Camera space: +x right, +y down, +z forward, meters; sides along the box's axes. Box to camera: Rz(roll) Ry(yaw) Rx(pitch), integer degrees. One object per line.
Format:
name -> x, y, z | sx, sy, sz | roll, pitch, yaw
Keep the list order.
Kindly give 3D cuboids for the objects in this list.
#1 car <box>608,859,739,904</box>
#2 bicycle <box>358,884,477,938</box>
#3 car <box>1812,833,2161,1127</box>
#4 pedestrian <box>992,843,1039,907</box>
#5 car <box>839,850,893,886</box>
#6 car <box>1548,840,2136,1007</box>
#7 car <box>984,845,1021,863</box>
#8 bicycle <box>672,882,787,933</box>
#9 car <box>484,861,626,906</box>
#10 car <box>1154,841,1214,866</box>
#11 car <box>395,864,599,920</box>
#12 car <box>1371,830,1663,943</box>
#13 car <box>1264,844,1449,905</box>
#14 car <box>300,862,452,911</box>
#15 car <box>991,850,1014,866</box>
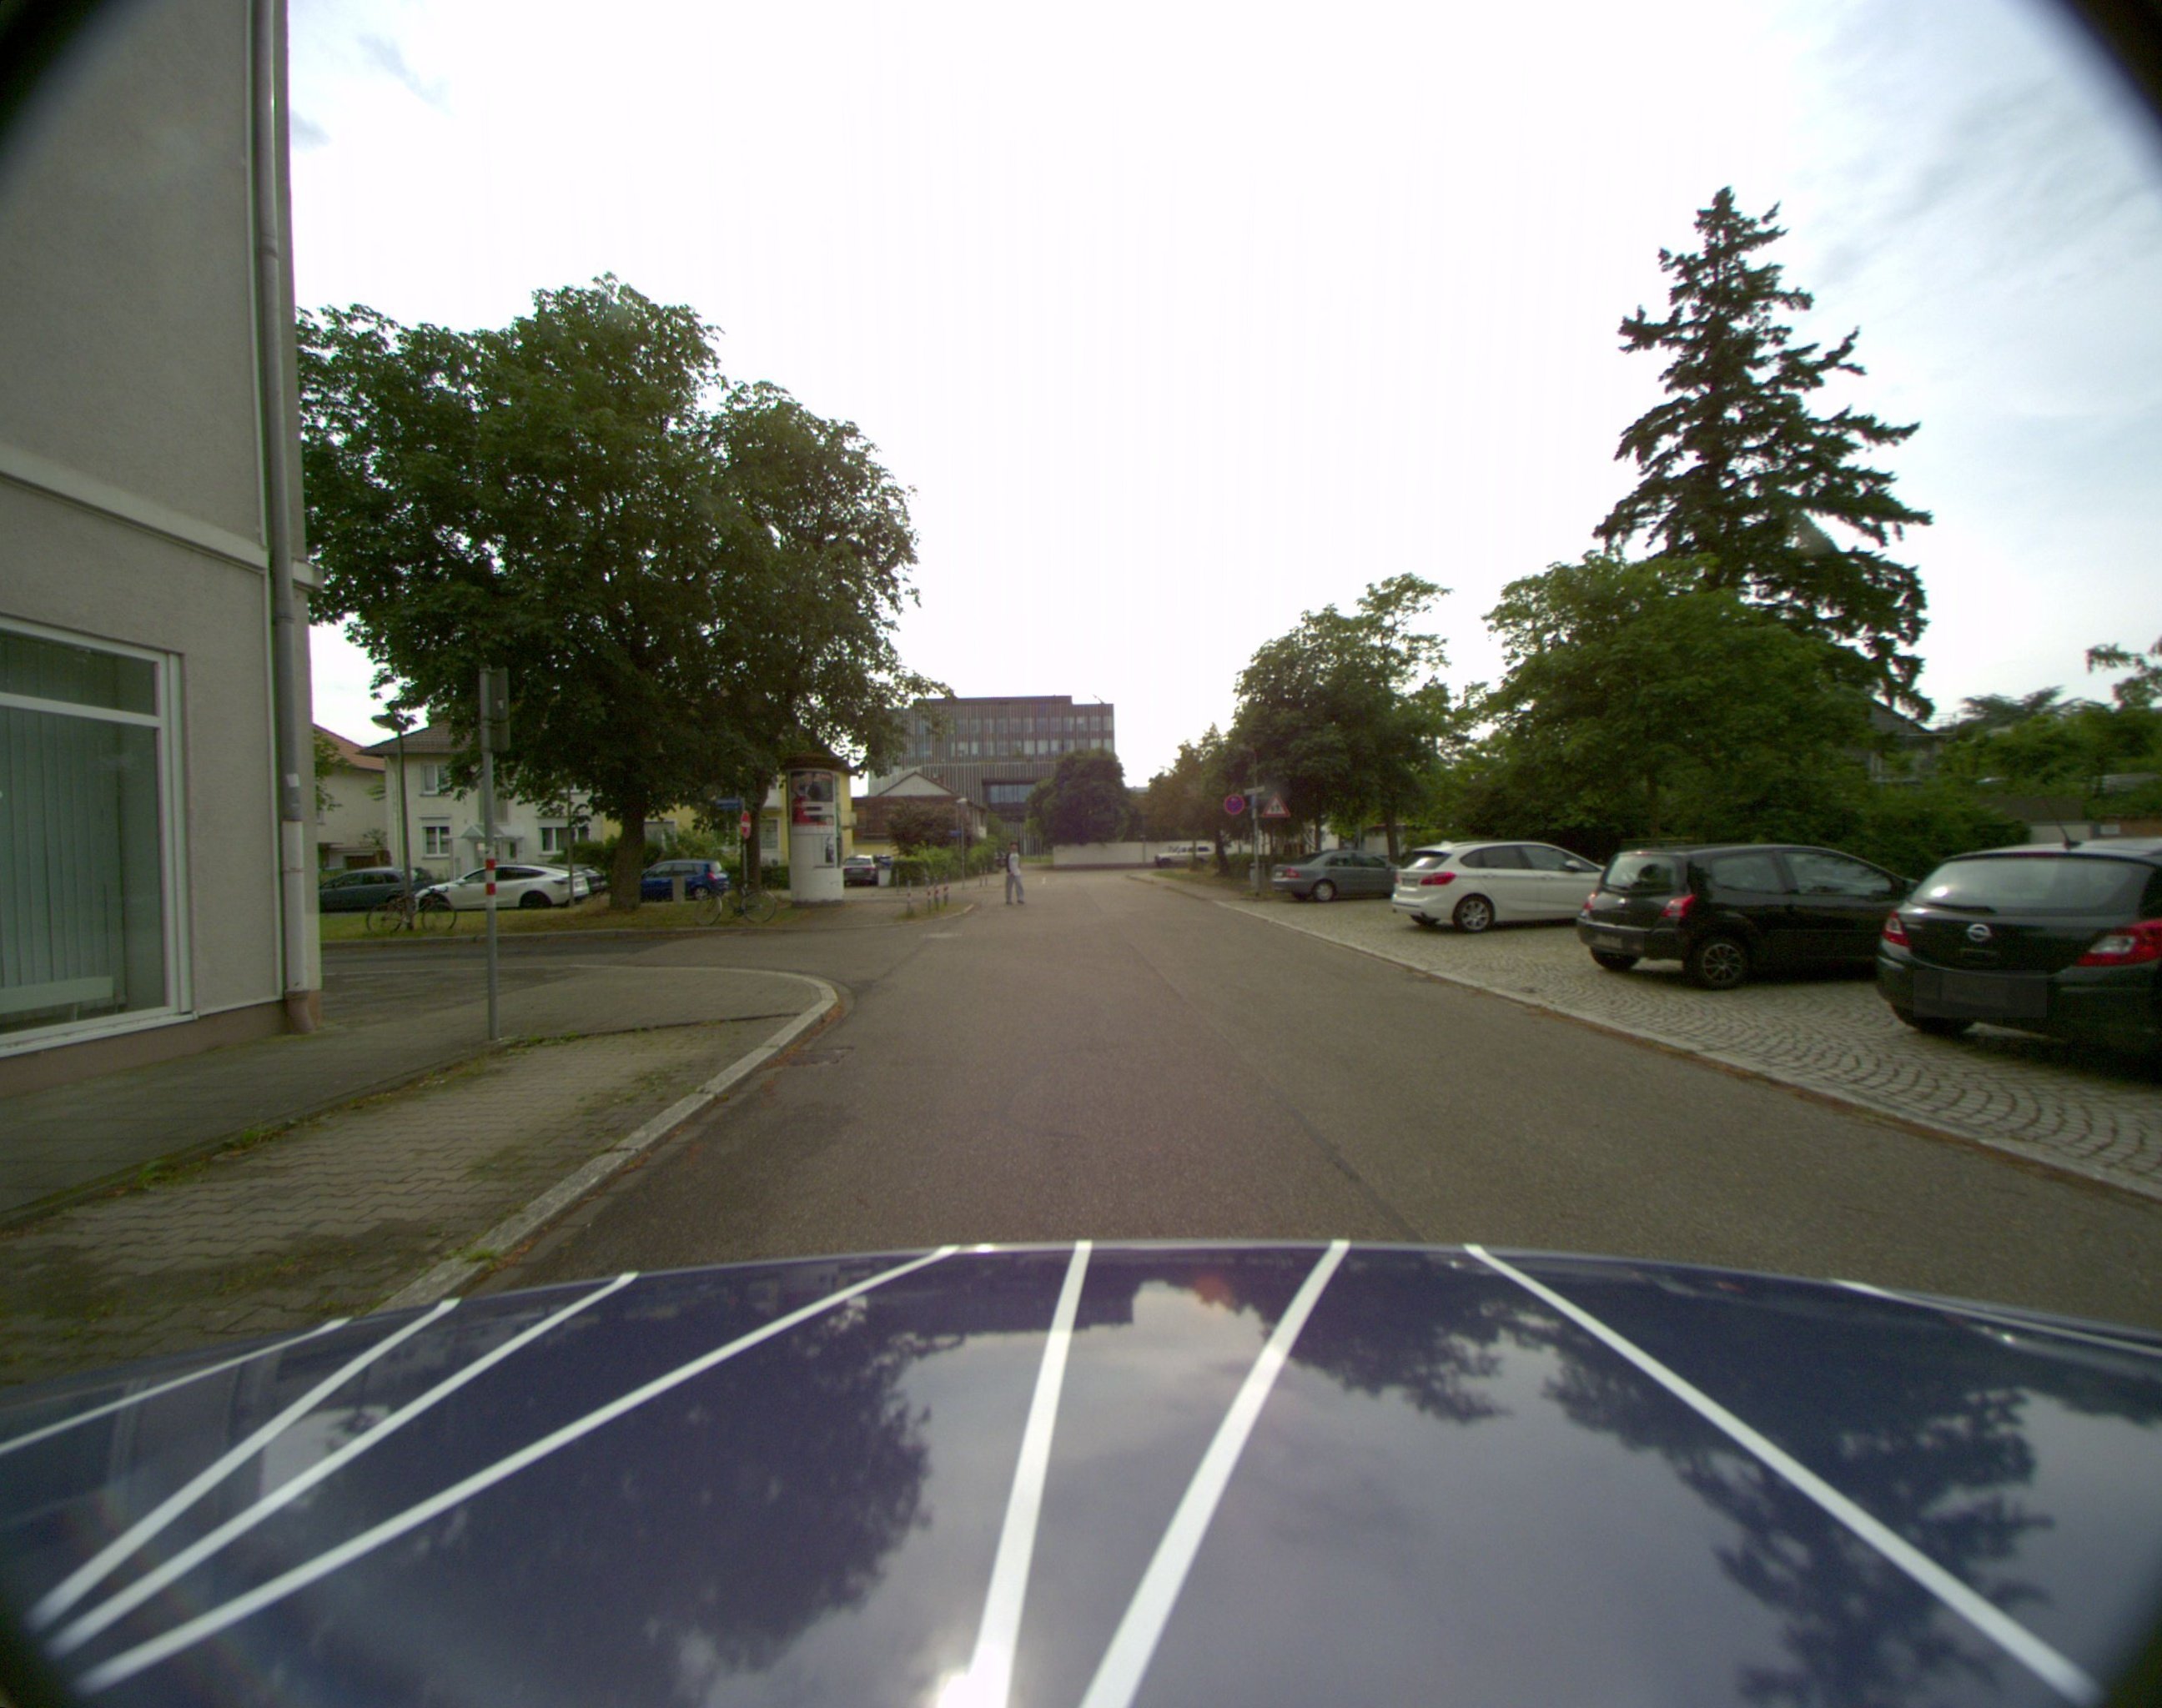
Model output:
car -> -16.144, 1.066, 30.277 | 4.208, 1.558, 1.704 | -2, 2, -3
bicycle -> -14.408, 1.230, 16.537 | 1.884, 1.060, 0.667 | -2, 1, -5
car -> 8.027, 0.648, 5.118 | 4.353, 1.557, 1.841 | -3, 1, 2
pedestrian -> -1.951, 0.604, 22.554 | 0.880, 1.825, 1.216 | -2, 1, -35
car -> -10.371, 0.648, 36.941 | 1.843, 1.601, 3.997 | -1, 1, -6
car -> 8.029, 0.680, 8.385 | 4.556, 1.455, 1.841 | -3, 1, 2
car -> -9.044, -0.031, 87.614 | 3.997, 1.828, 1.999 | -2, 3, -1
bicycle -> -7.690, 1.164, 16.700 | 2.182, 0.980, 0.511 | -2, 4, -10
car -> -20.648, 1.136, 29.985 | 4.166, 1.492, 1.717 | -2, 3, -8
car -> 8.447, -0.048, 62.454 | 4.493, 1.849, 1.998 | -2, 3, -6
car -> -18.715, 1.183, 24.572 | 4.883, 1.557, 1.901 | -2, 1, -7
car -> 7.729, 0.518, 13.736 | 4.146, 1.552, 1.883 | -5, 2, -2
car -> 7.668, 0.537, 21.337 | 4.559, 1.446, 1.679 | -3, 1, -7
car -> -26.905, 1.207, 29.131 | 3.885, 1.593, 1.717 | -2, 3, -8
car -> -7.971, 0.387, 77.063 | 1.999, 1.390, 3.997 | -2, 3, -2
